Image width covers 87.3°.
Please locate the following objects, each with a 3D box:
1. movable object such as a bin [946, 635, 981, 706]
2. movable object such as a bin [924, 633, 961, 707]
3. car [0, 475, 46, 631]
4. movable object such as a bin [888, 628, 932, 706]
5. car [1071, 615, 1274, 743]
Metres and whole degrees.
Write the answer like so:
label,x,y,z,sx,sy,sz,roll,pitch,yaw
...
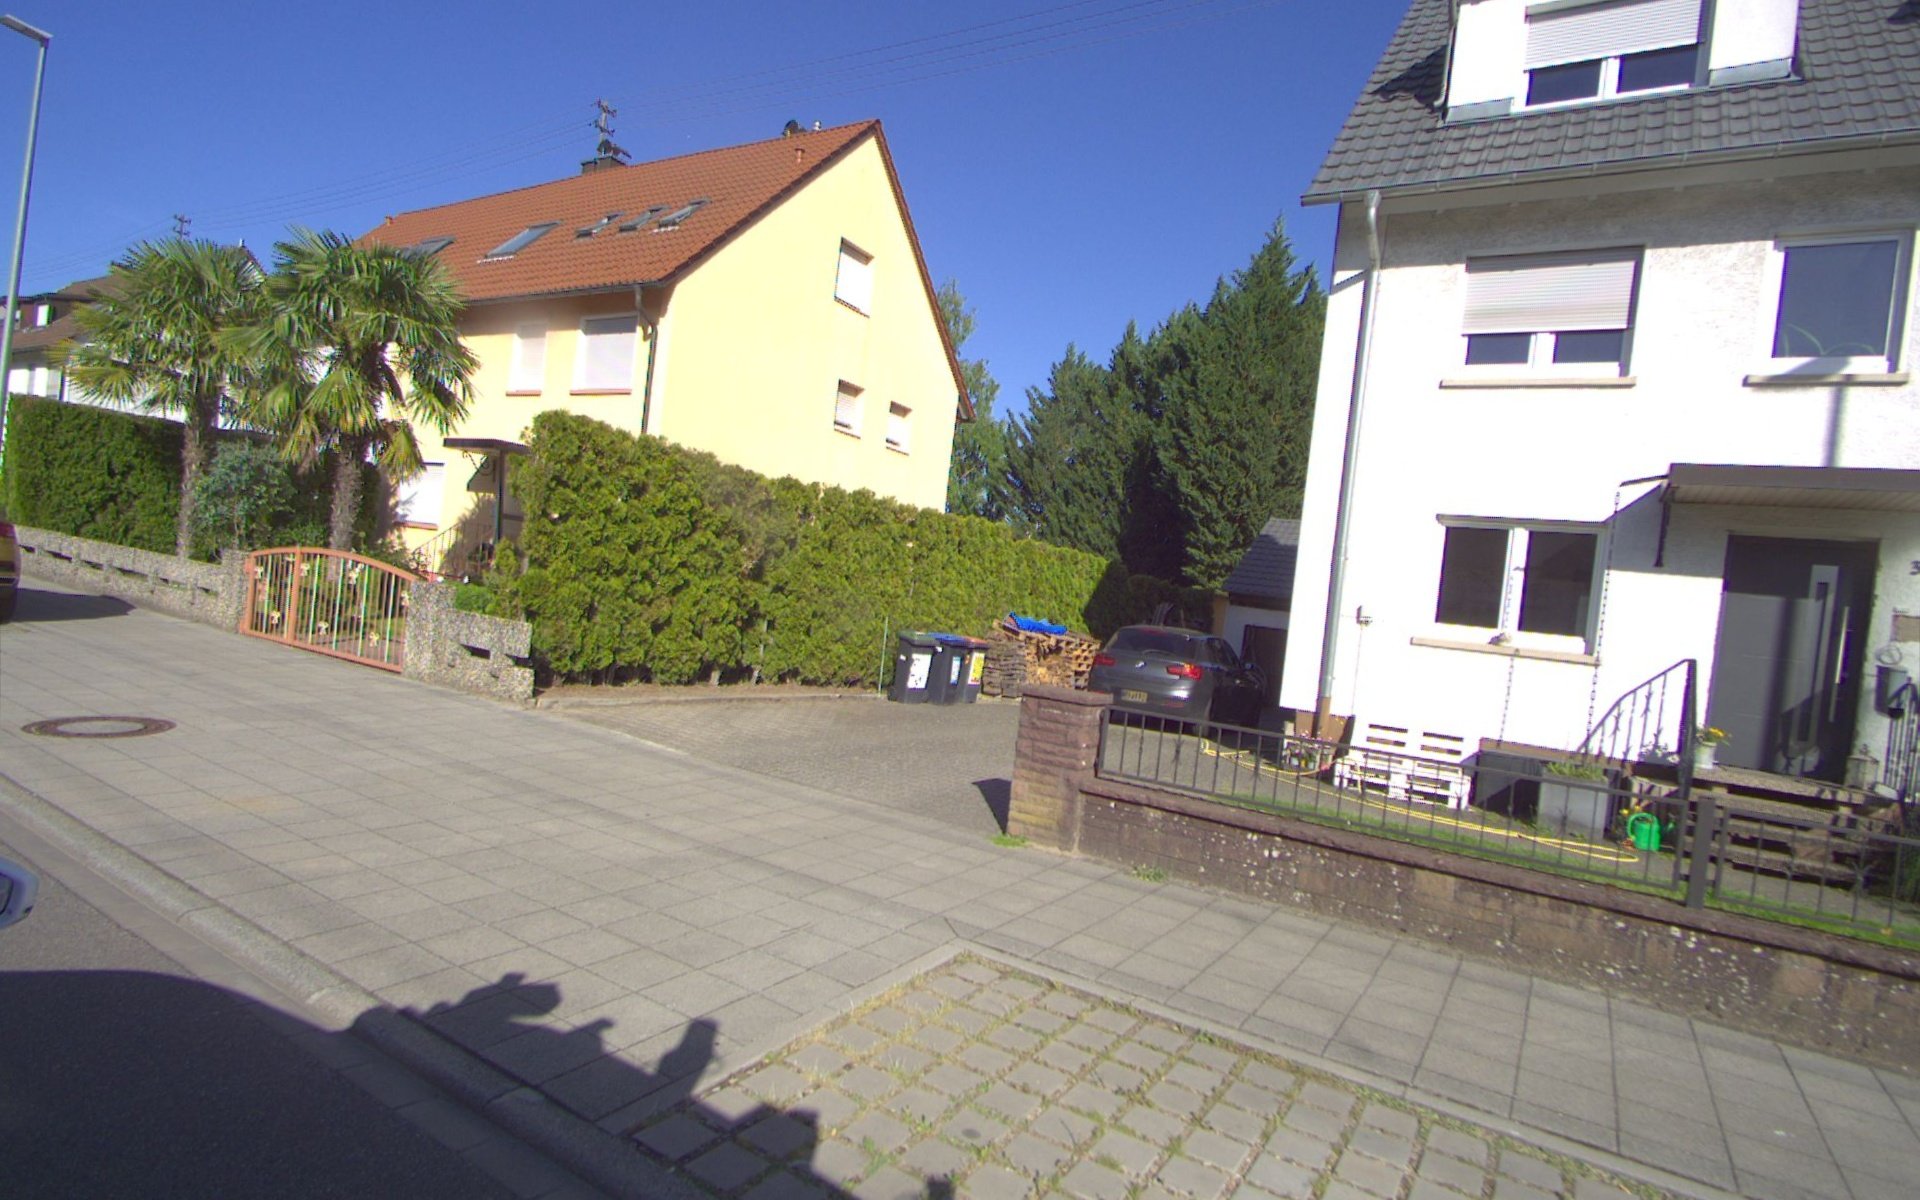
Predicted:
label,x,y,z,sx,sy,sz,roll,pitch,yaw
movable object such as a bin,0.050,0.974,13.886,0.237,0.936,0.336,7,-1,32
movable object such as a bin,-0.229,0.925,13.348,0.331,0.936,0.241,7,-1,17
car,-12.152,-0.744,11.108,4.846,1.579,1.806,7,1,33
movable object such as a bin,-0.651,0.873,13.095,0.399,0.961,0.240,7,-1,30
car,3.276,1.165,14.895,1.783,1.438,3.891,7,-1,29
